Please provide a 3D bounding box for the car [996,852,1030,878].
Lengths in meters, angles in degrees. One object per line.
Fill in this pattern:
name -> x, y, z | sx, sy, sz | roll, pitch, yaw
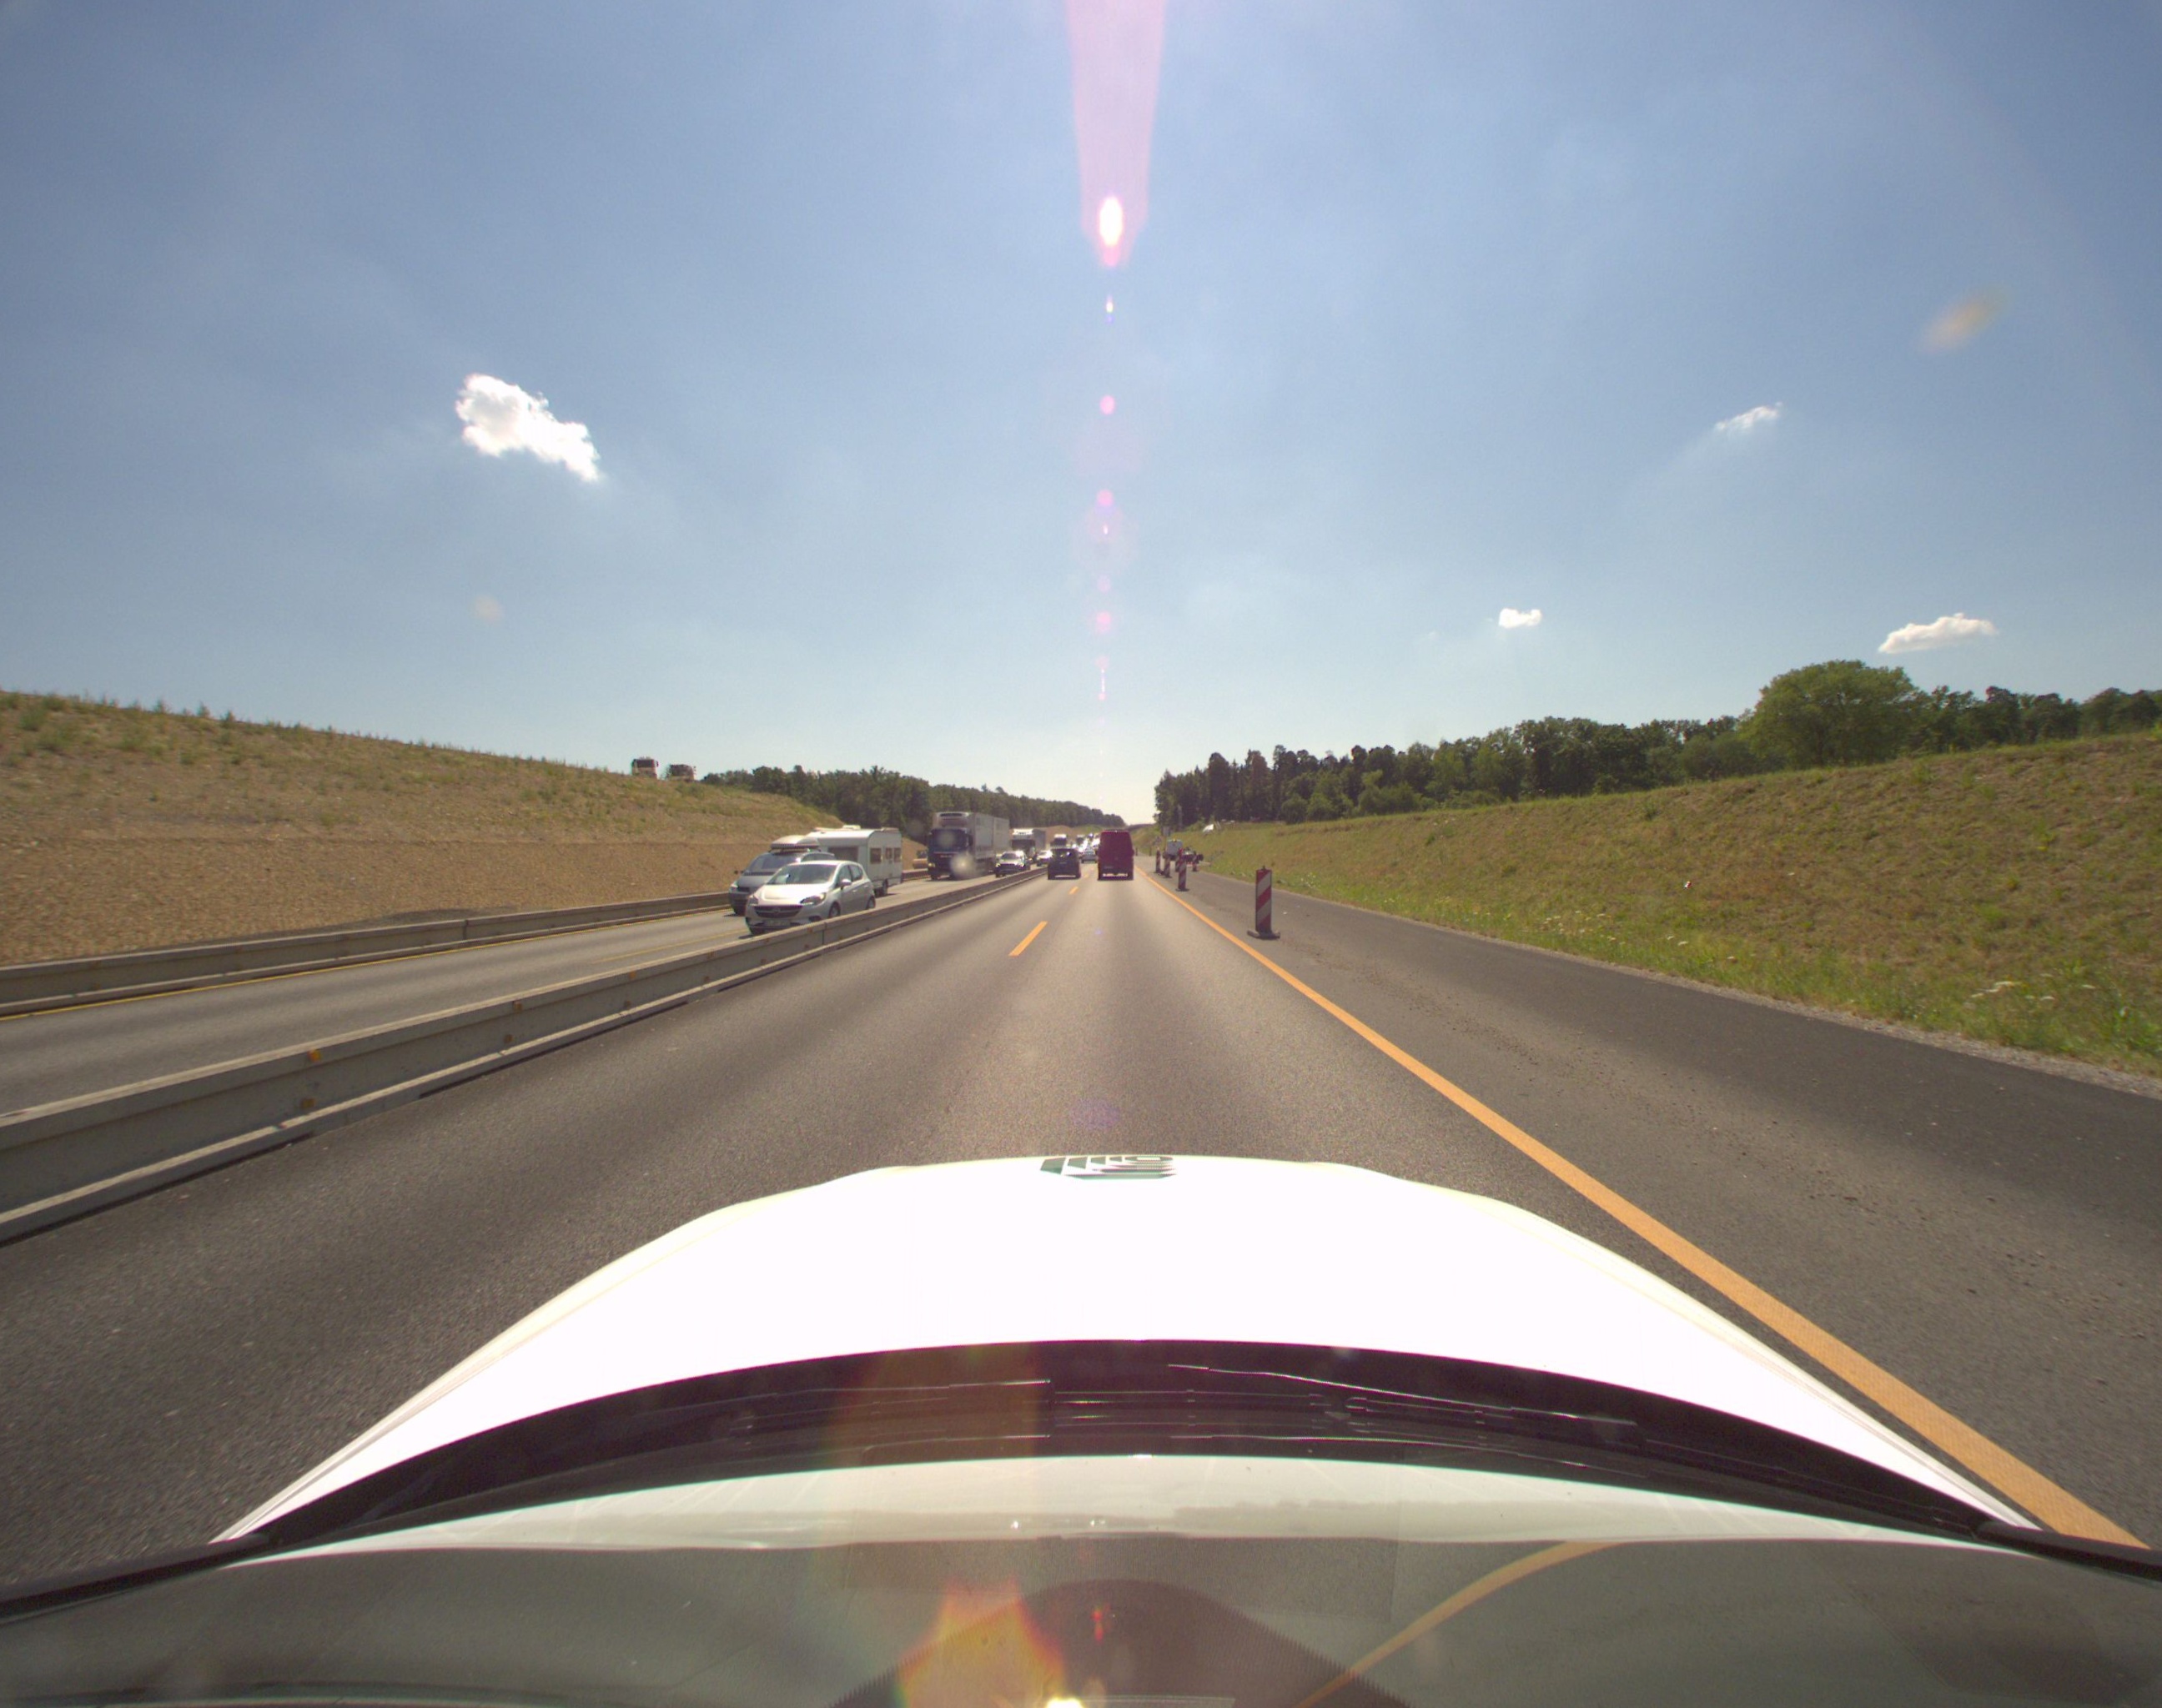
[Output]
car -> -4.344, 0.686, 52.491 | 1.682, 1.613, 4.595 | 0, -1, 2

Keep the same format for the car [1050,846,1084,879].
car -> -0.779, 0.443, 47.836 | 1.744, 1.824, 4.785 | 0, 0, 2

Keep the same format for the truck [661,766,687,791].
truck -> -58.484, -10.734, 116.853 | 2.311, 2.749, 8.813 | 0, -1, -33

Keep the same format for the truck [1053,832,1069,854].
truck -> -3.725, -2.066, 153.663 | 2.757, 4.044, 4.946 | 0, -1, 3

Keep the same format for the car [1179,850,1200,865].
car -> 11.277, 0.338, 84.862 | 1.647, 1.426, 4.548 | -3, 1, 3

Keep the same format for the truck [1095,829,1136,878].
truck -> 1.895, 0.001, 45.987 | 2.146, 2.590, 5.333 | 0, -1, 0

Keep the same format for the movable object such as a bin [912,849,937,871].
movable object such as a bin -> -24.711, 0.922, 128.878 | 2.159, 3.109, 7.170 | -3, 1, 3

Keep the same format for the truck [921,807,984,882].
truck -> -7.673, -0.550, 49.436 | 2.481, 4.198, 5.915 | -2, 0, 2

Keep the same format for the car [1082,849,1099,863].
car -> 1.065, 0.231, 93.129 | 1.824, 1.522, 3.963 | 0, -1, 2

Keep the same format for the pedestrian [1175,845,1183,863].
pedestrian -> 10.145, -0.013, 84.436 | 0.642, 1.828, 0.555 | 0, 0, -19

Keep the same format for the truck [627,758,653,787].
truck -> -59.144, -10.851, 109.120 | 2.371, 2.898, 8.280 | 0, -1, -33

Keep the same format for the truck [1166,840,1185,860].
truck -> 11.945, -0.508, 103.056 | 2.117, 2.457, 5.941 | 0, 1, 9

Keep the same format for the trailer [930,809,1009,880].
trailer -> -7.343, -0.574, 56.475 | 2.492, 4.179, 15.544 | -2, 0, 3

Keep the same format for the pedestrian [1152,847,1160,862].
pedestrian -> 9.198, 0.046, 99.425 | 0.727, 1.828, 0.714 | 0, -1, -26

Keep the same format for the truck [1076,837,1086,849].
truck -> 0.086, -3.364, 255.761 | 2.498, 3.617, 9.648 | 0, -1, 3

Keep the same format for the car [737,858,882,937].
car -> -5.677, 0.855, 17.559 | 1.682, 1.502, 3.978 | 0, -1, 2

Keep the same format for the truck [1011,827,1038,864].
truck -> -6.326, -0.935, 92.057 | 2.582, 4.053, 5.151 | 0, 0, 1

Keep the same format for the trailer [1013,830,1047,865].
trailer -> -6.057, -0.807, 99.293 | 2.643, 3.938, 14.003 | 0, 0, 2

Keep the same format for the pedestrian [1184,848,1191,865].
pedestrian -> 11.539, 0.300, 87.978 | 0.624, 1.828, 0.640 | 0, 0, -10

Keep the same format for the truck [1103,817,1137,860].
truck -> 5.424, -1.964, 115.221 | 4.383, 5.496, 16.611 | 0, -1, 2

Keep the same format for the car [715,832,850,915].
car -> -8.588, 0.539, 23.971 | 1.986, 2.155, 4.867 | -2, -1, 2

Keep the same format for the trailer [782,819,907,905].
trailer -> -8.390, 0.255, 29.818 | 2.303, 2.686, 6.759 | -2, 0, 2

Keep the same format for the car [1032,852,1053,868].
car -> -3.865, 0.608, 81.801 | 1.801, 1.488, 4.244 | 0, -1, 1
